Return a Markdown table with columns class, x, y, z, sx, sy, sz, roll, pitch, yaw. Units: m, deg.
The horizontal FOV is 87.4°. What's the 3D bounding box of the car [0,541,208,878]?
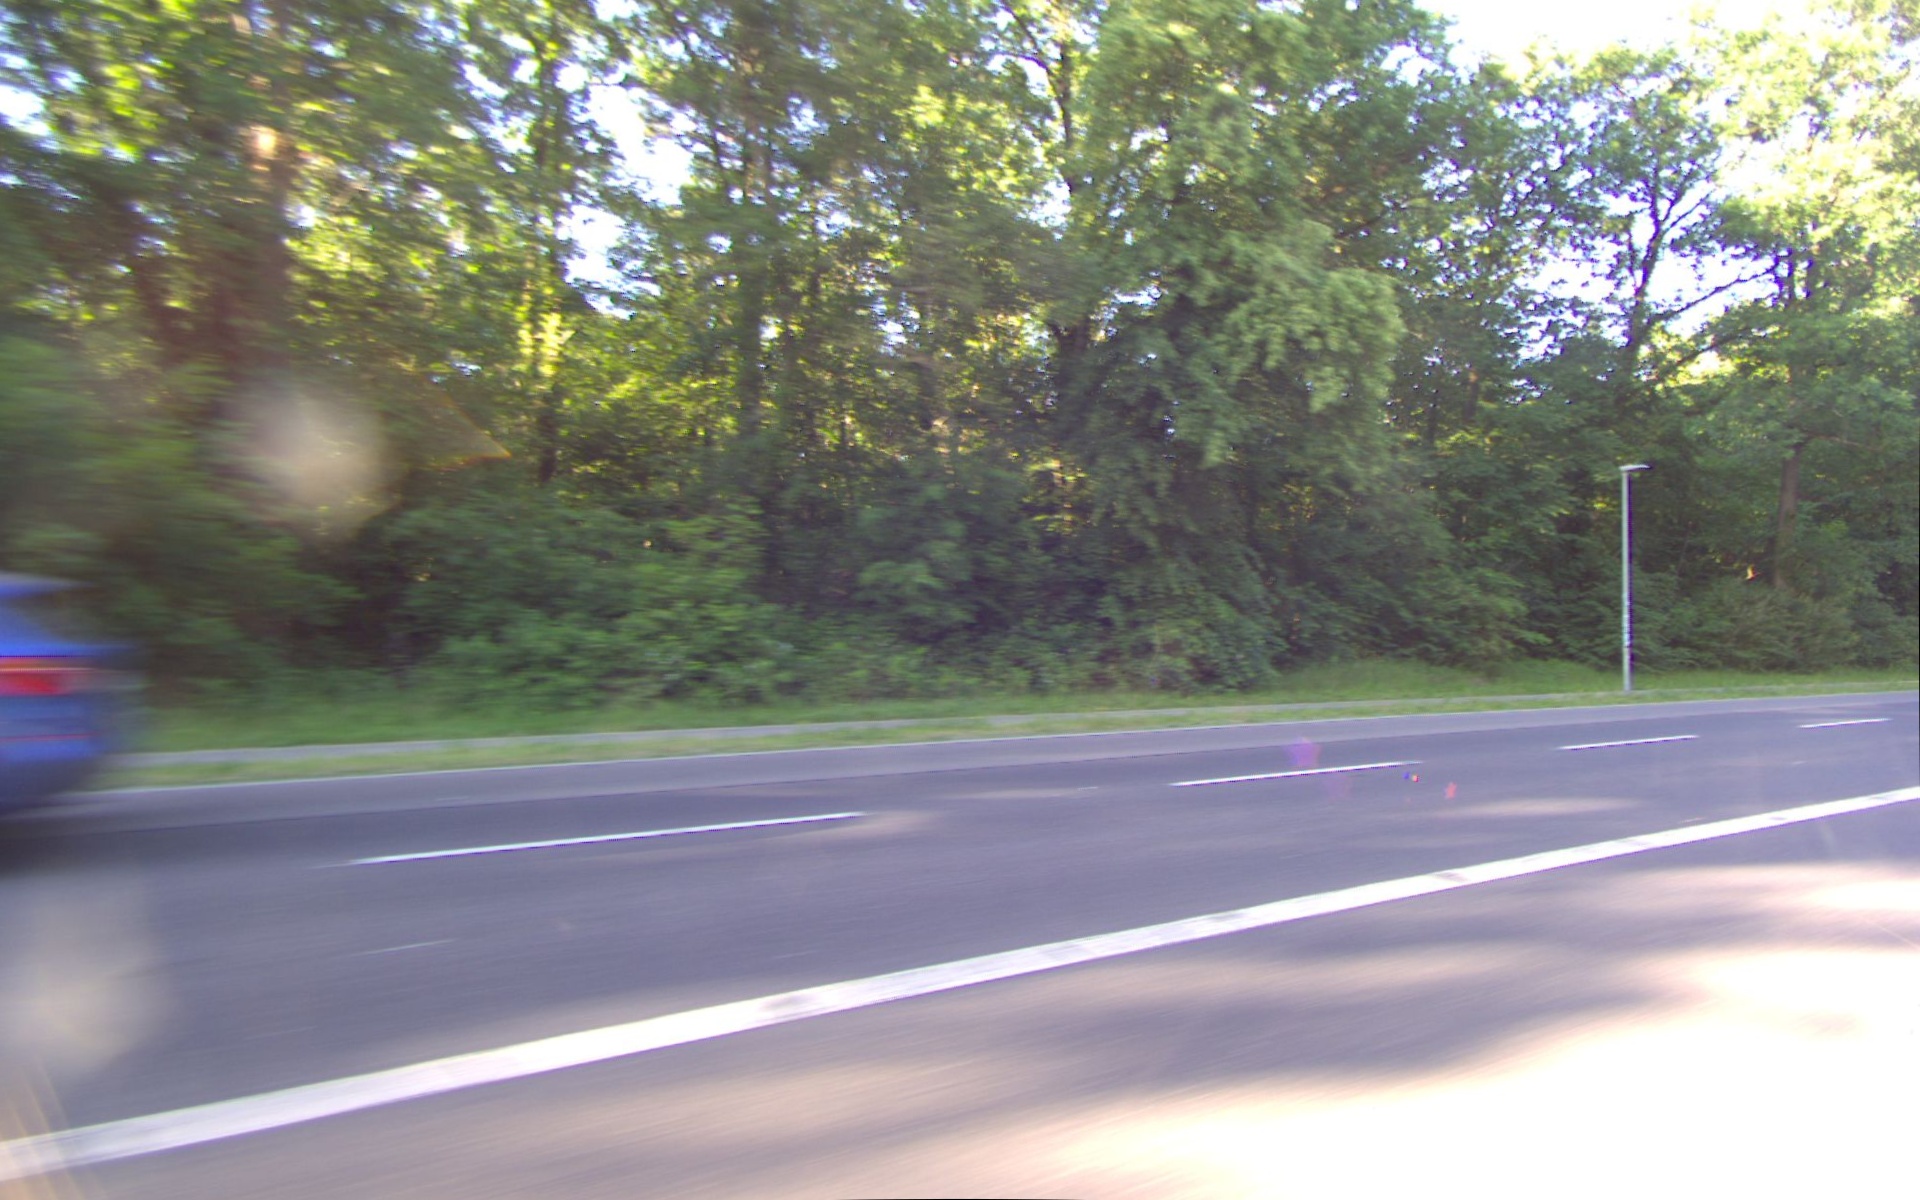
| class | x | y | z | sx | sy | sz | roll | pitch | yaw |
| --- | --- | --- | --- | --- | --- | --- | --- | --- | --- |
| car | -6.617 | 0.517 | 4.942 | 4.471 | 1.685 | 1.798 | 2 | -1 | -32 |
